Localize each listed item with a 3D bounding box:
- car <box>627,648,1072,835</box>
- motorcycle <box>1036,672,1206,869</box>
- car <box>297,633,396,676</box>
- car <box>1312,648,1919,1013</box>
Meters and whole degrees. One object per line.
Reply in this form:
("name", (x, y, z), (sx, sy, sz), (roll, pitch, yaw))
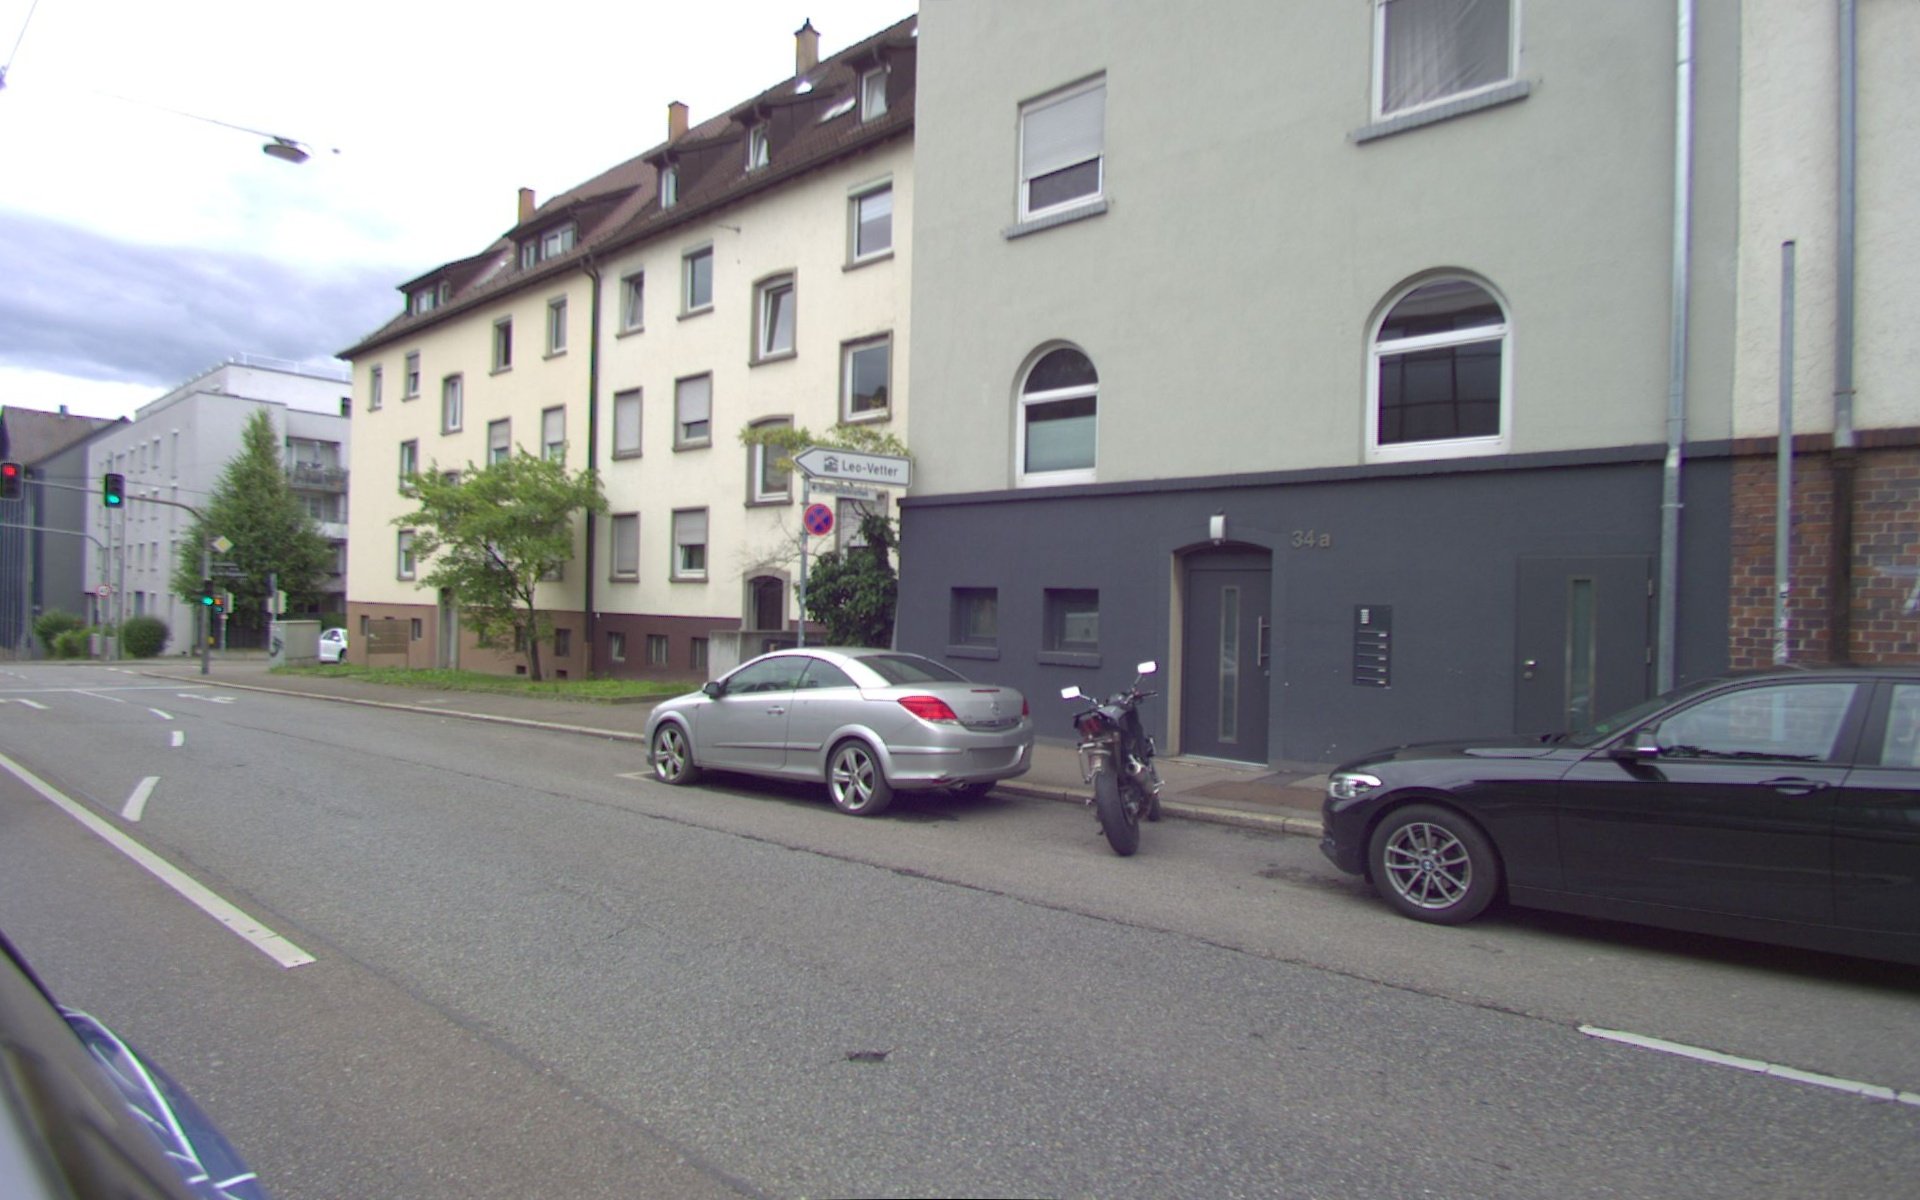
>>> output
("car", (-1.214, 1.159, 9.683), (4.333, 1.385, 1.709), (-2, -3, 40))
("motorcycle", (1.273, 1.167, 7.596), (0.802, 1.245, 2.031), (-1, -4, 23))
("car", (-23.932, 2.157, 39.420), (4.252, 1.549, 1.797), (-4, -5, 37))
("car", (4.122, 0.968, 4.964), (4.189, 1.440, 1.709), (-2, -3, 41))
